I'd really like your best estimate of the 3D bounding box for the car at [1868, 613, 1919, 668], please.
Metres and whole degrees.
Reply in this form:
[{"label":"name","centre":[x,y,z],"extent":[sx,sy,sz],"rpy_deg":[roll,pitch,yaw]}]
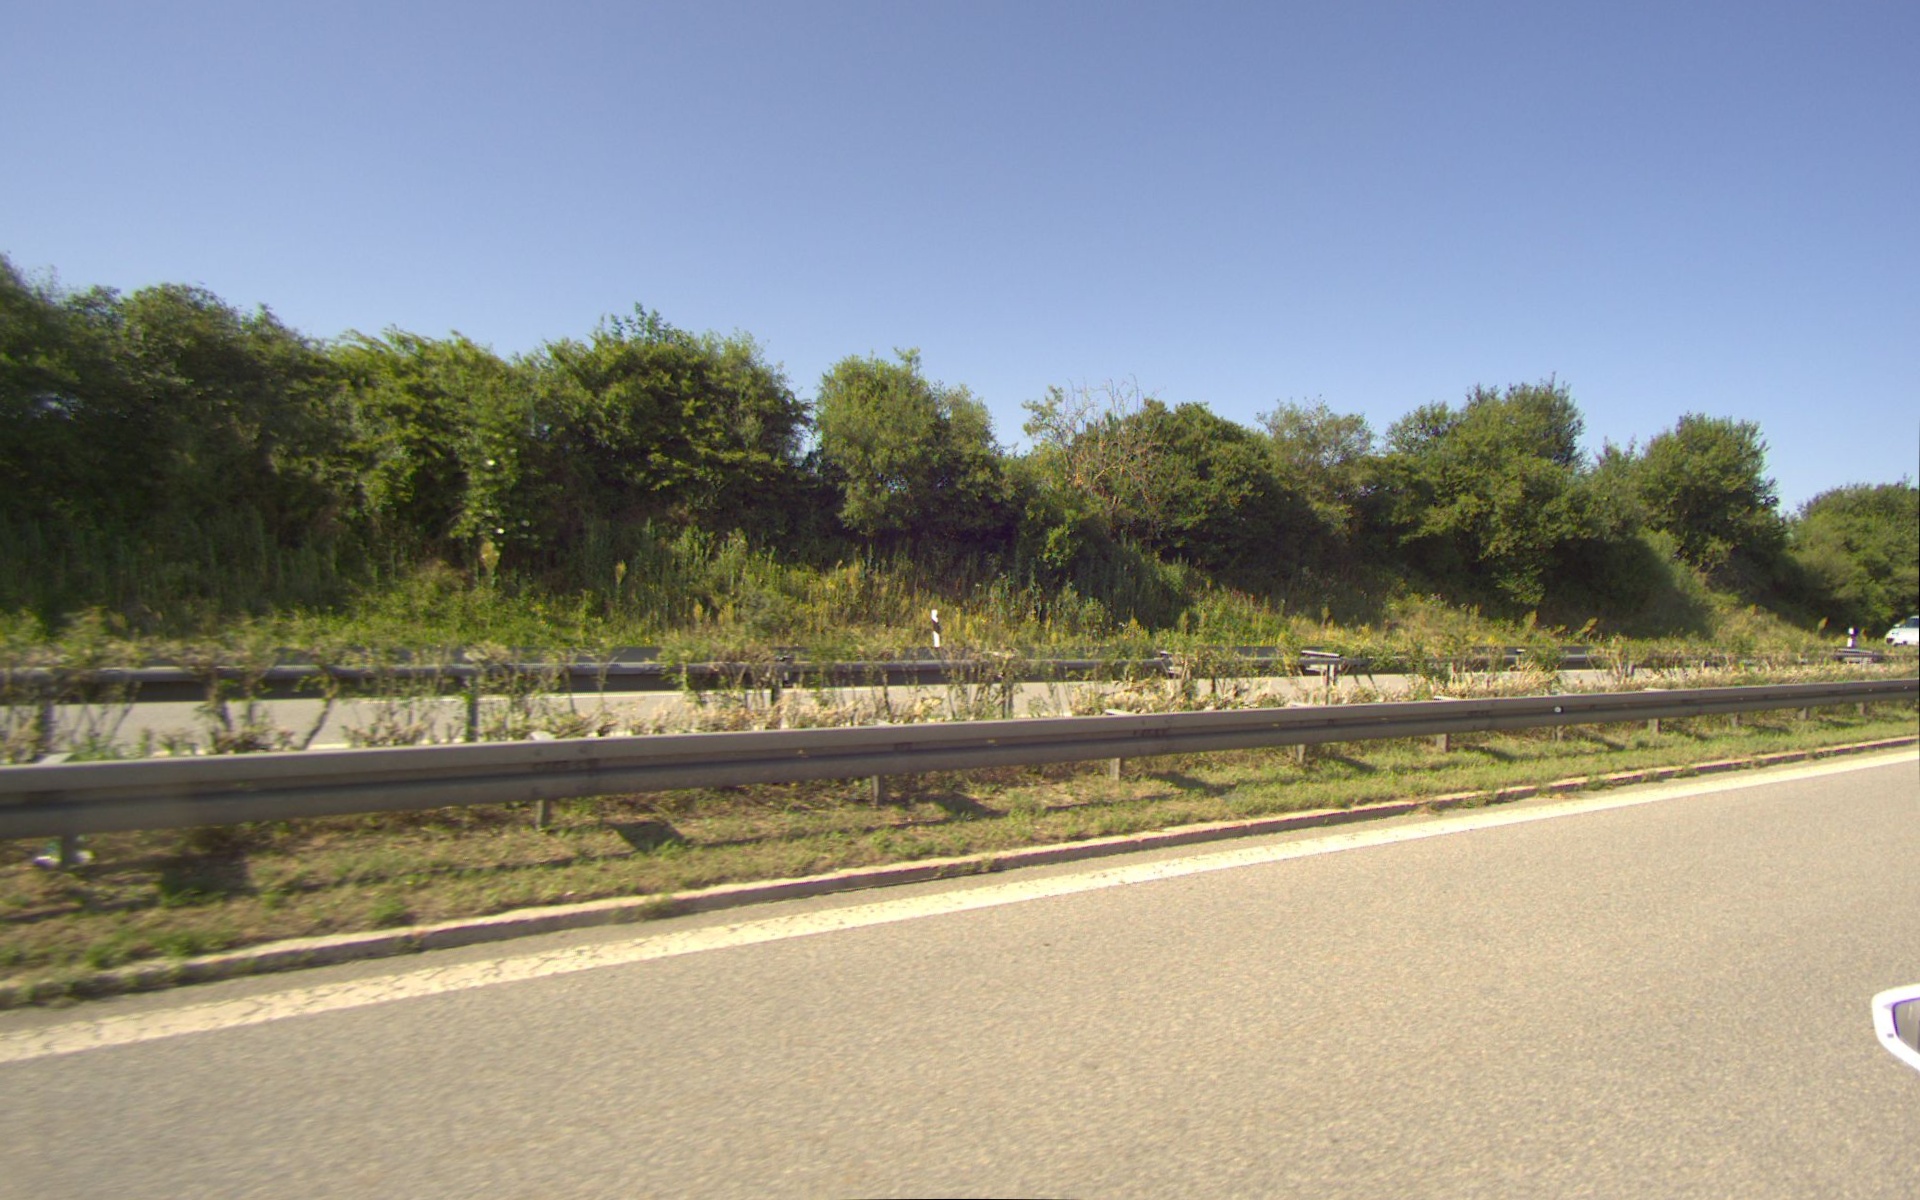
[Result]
[{"label":"car","centre":[37.750,1.598,39.298],"extent":[4.800,2.040,1.983],"rpy_deg":[2,0,-31]}]
